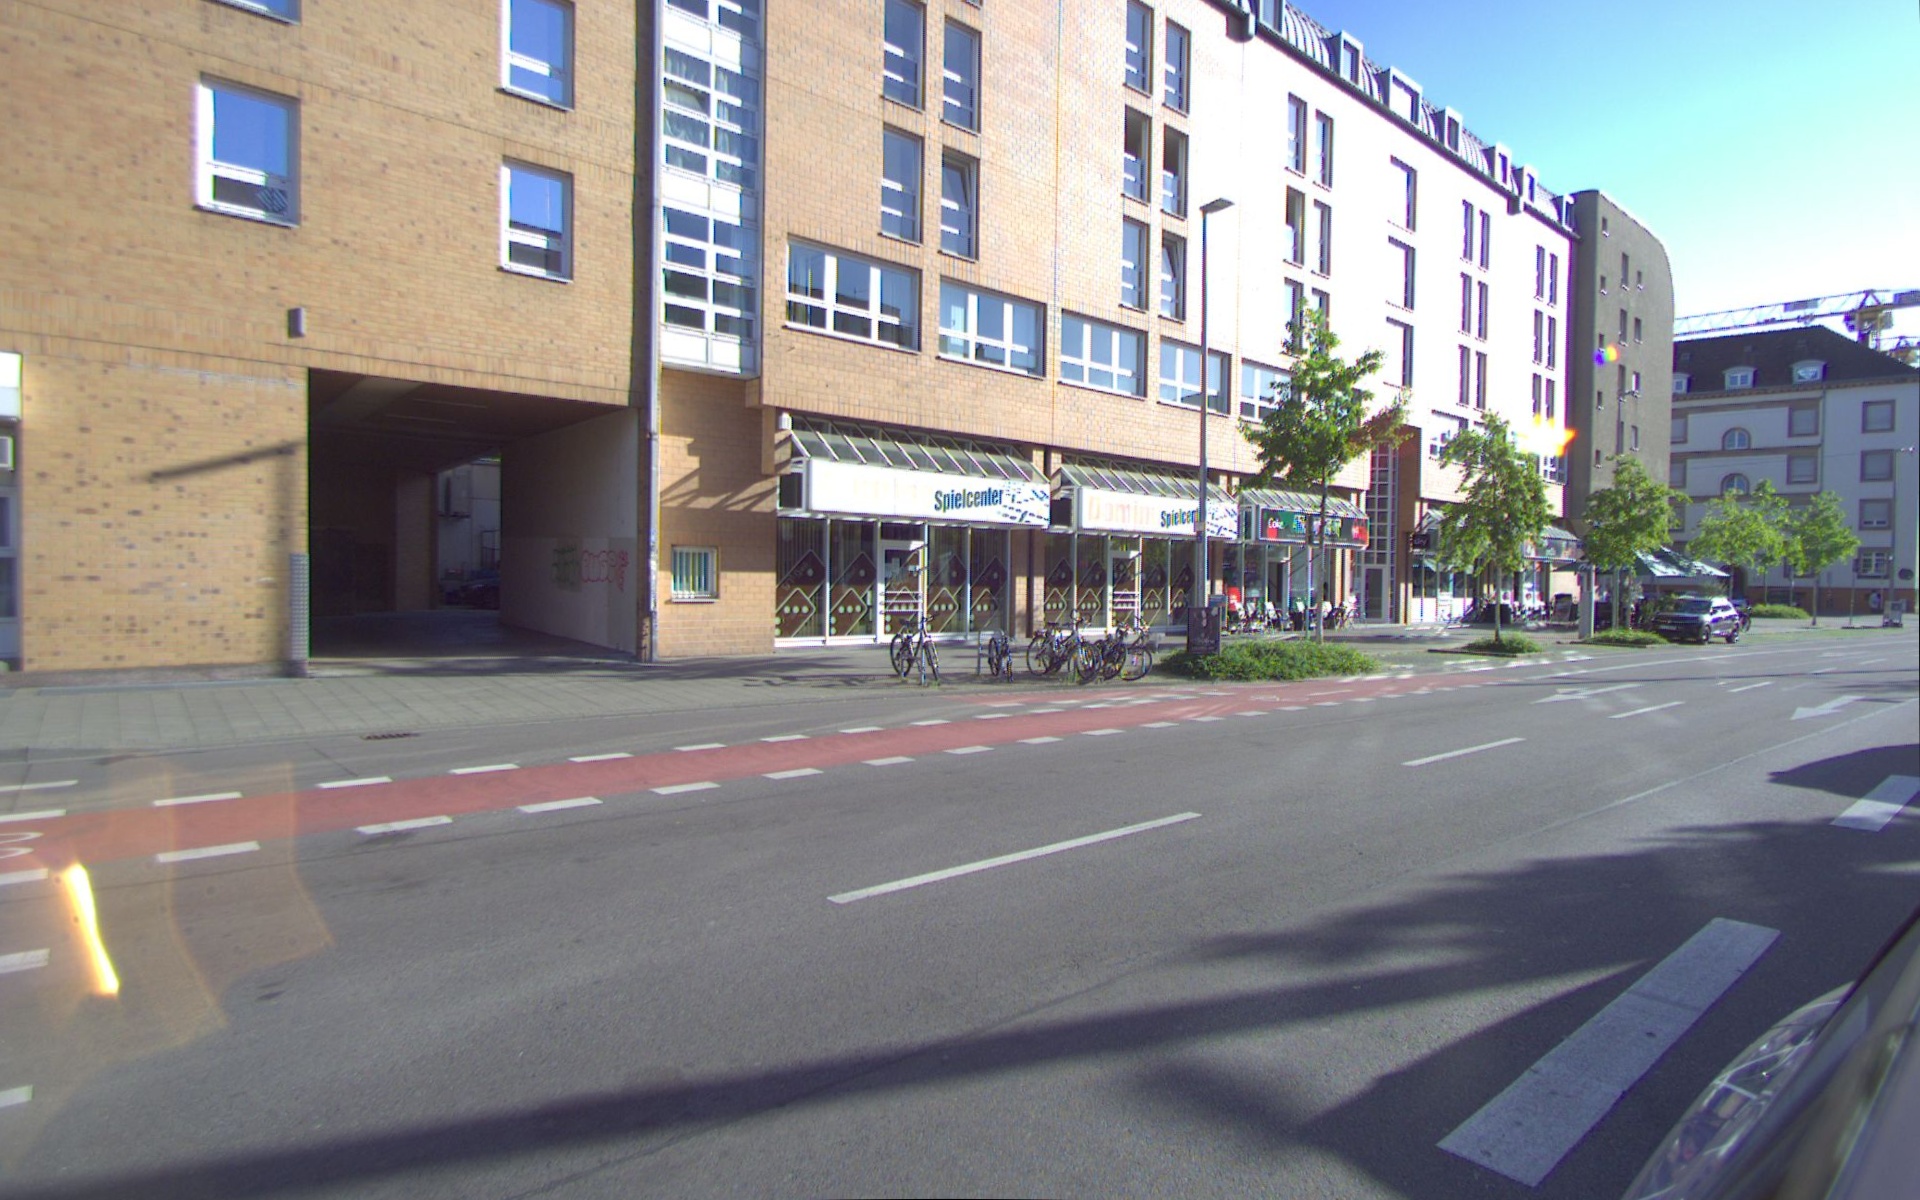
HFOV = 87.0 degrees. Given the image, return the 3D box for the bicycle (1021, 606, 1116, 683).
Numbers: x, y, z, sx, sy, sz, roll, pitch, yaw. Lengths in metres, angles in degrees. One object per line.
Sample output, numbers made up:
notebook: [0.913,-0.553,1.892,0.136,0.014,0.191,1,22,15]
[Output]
bicycle: [1.837,0.736,17.394,0.543,1.155,1.775,-2,4,-37]

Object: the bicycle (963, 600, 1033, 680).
bicycle: [0.610,0.629,16.918,0.541,1.162,1.780,0,3,-20]

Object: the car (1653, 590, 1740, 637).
car: [25.916,0.436,35.591,3.628,1.549,1.655,-1,1,-40]

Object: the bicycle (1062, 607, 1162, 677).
bicycle: [2.714,0.719,18.228,0.724,1.084,1.775,-2,4,-37]

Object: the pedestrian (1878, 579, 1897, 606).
pedestrian: [59.161,-0.486,64.549,0.801,1.687,0.878,2,1,41]

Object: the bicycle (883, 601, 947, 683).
bicycle: [-0.757,0.645,16.449,0.541,1.162,1.780,0,3,-20]
